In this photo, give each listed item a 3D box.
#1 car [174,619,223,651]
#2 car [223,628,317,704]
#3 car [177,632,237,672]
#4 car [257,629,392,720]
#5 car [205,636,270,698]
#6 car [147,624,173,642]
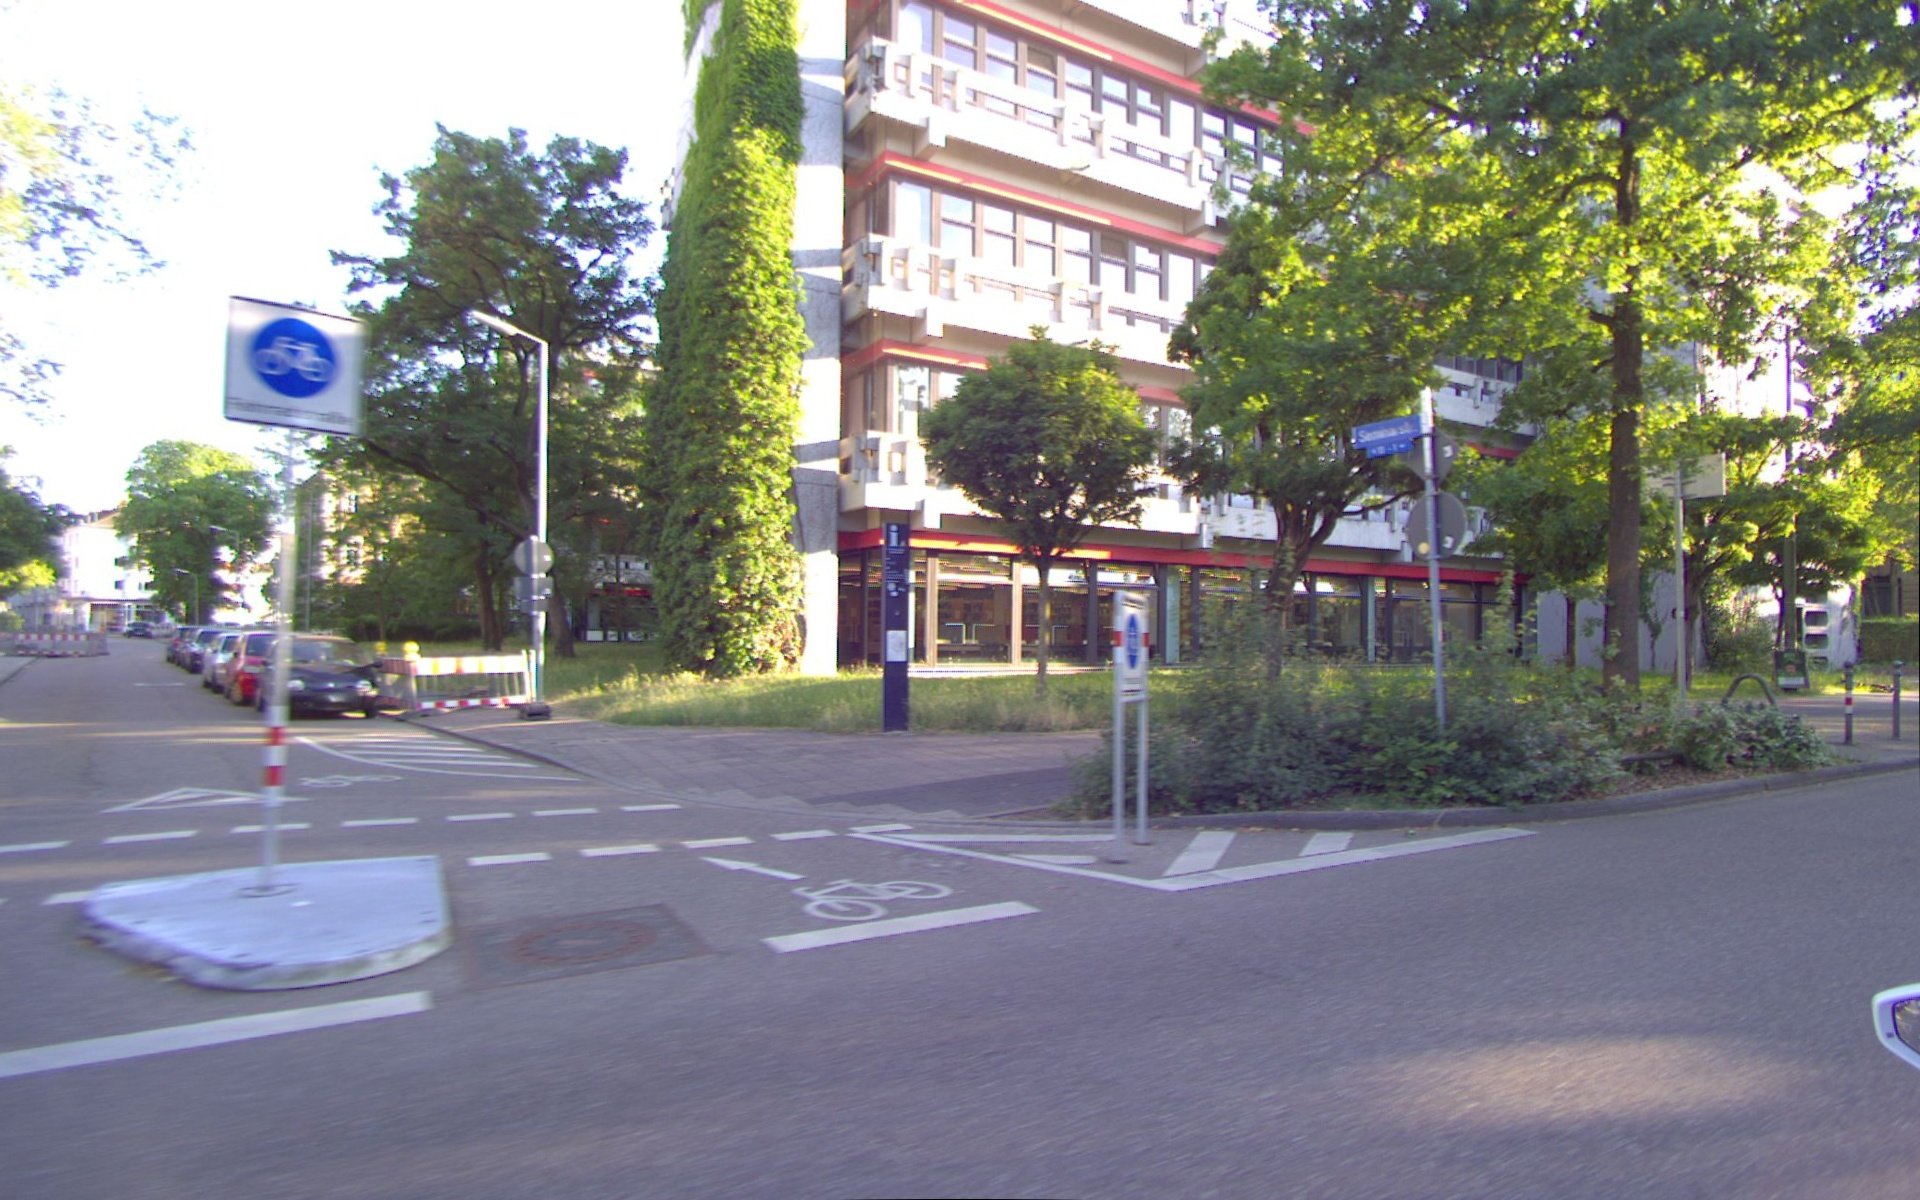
[{"bbox_3d":[-30.692,1.404,40.466,1.487,1.238,2.871,2,-2,-38],"label":"car"},{"bbox_3d":[-14.601,1.358,21.199,1.363,1.476,3.240,4,-4,-38],"label":"car"},{"bbox_3d":[-24.668,1.676,32.861,1.487,1.238,2.871,2,-2,-38],"label":"car"},{"bbox_3d":[-11.590,1.309,18.246,1.671,1.476,3.239,4,-4,-39],"label":"car"},{"bbox_3d":[-17.423,1.594,24.193,1.089,1.386,2.699,4,-4,-38],"label":"car"},{"bbox_3d":[-78.829,3.225,99.006,1.983,1.750,3.956,2,-2,-39],"label":"car"}]
